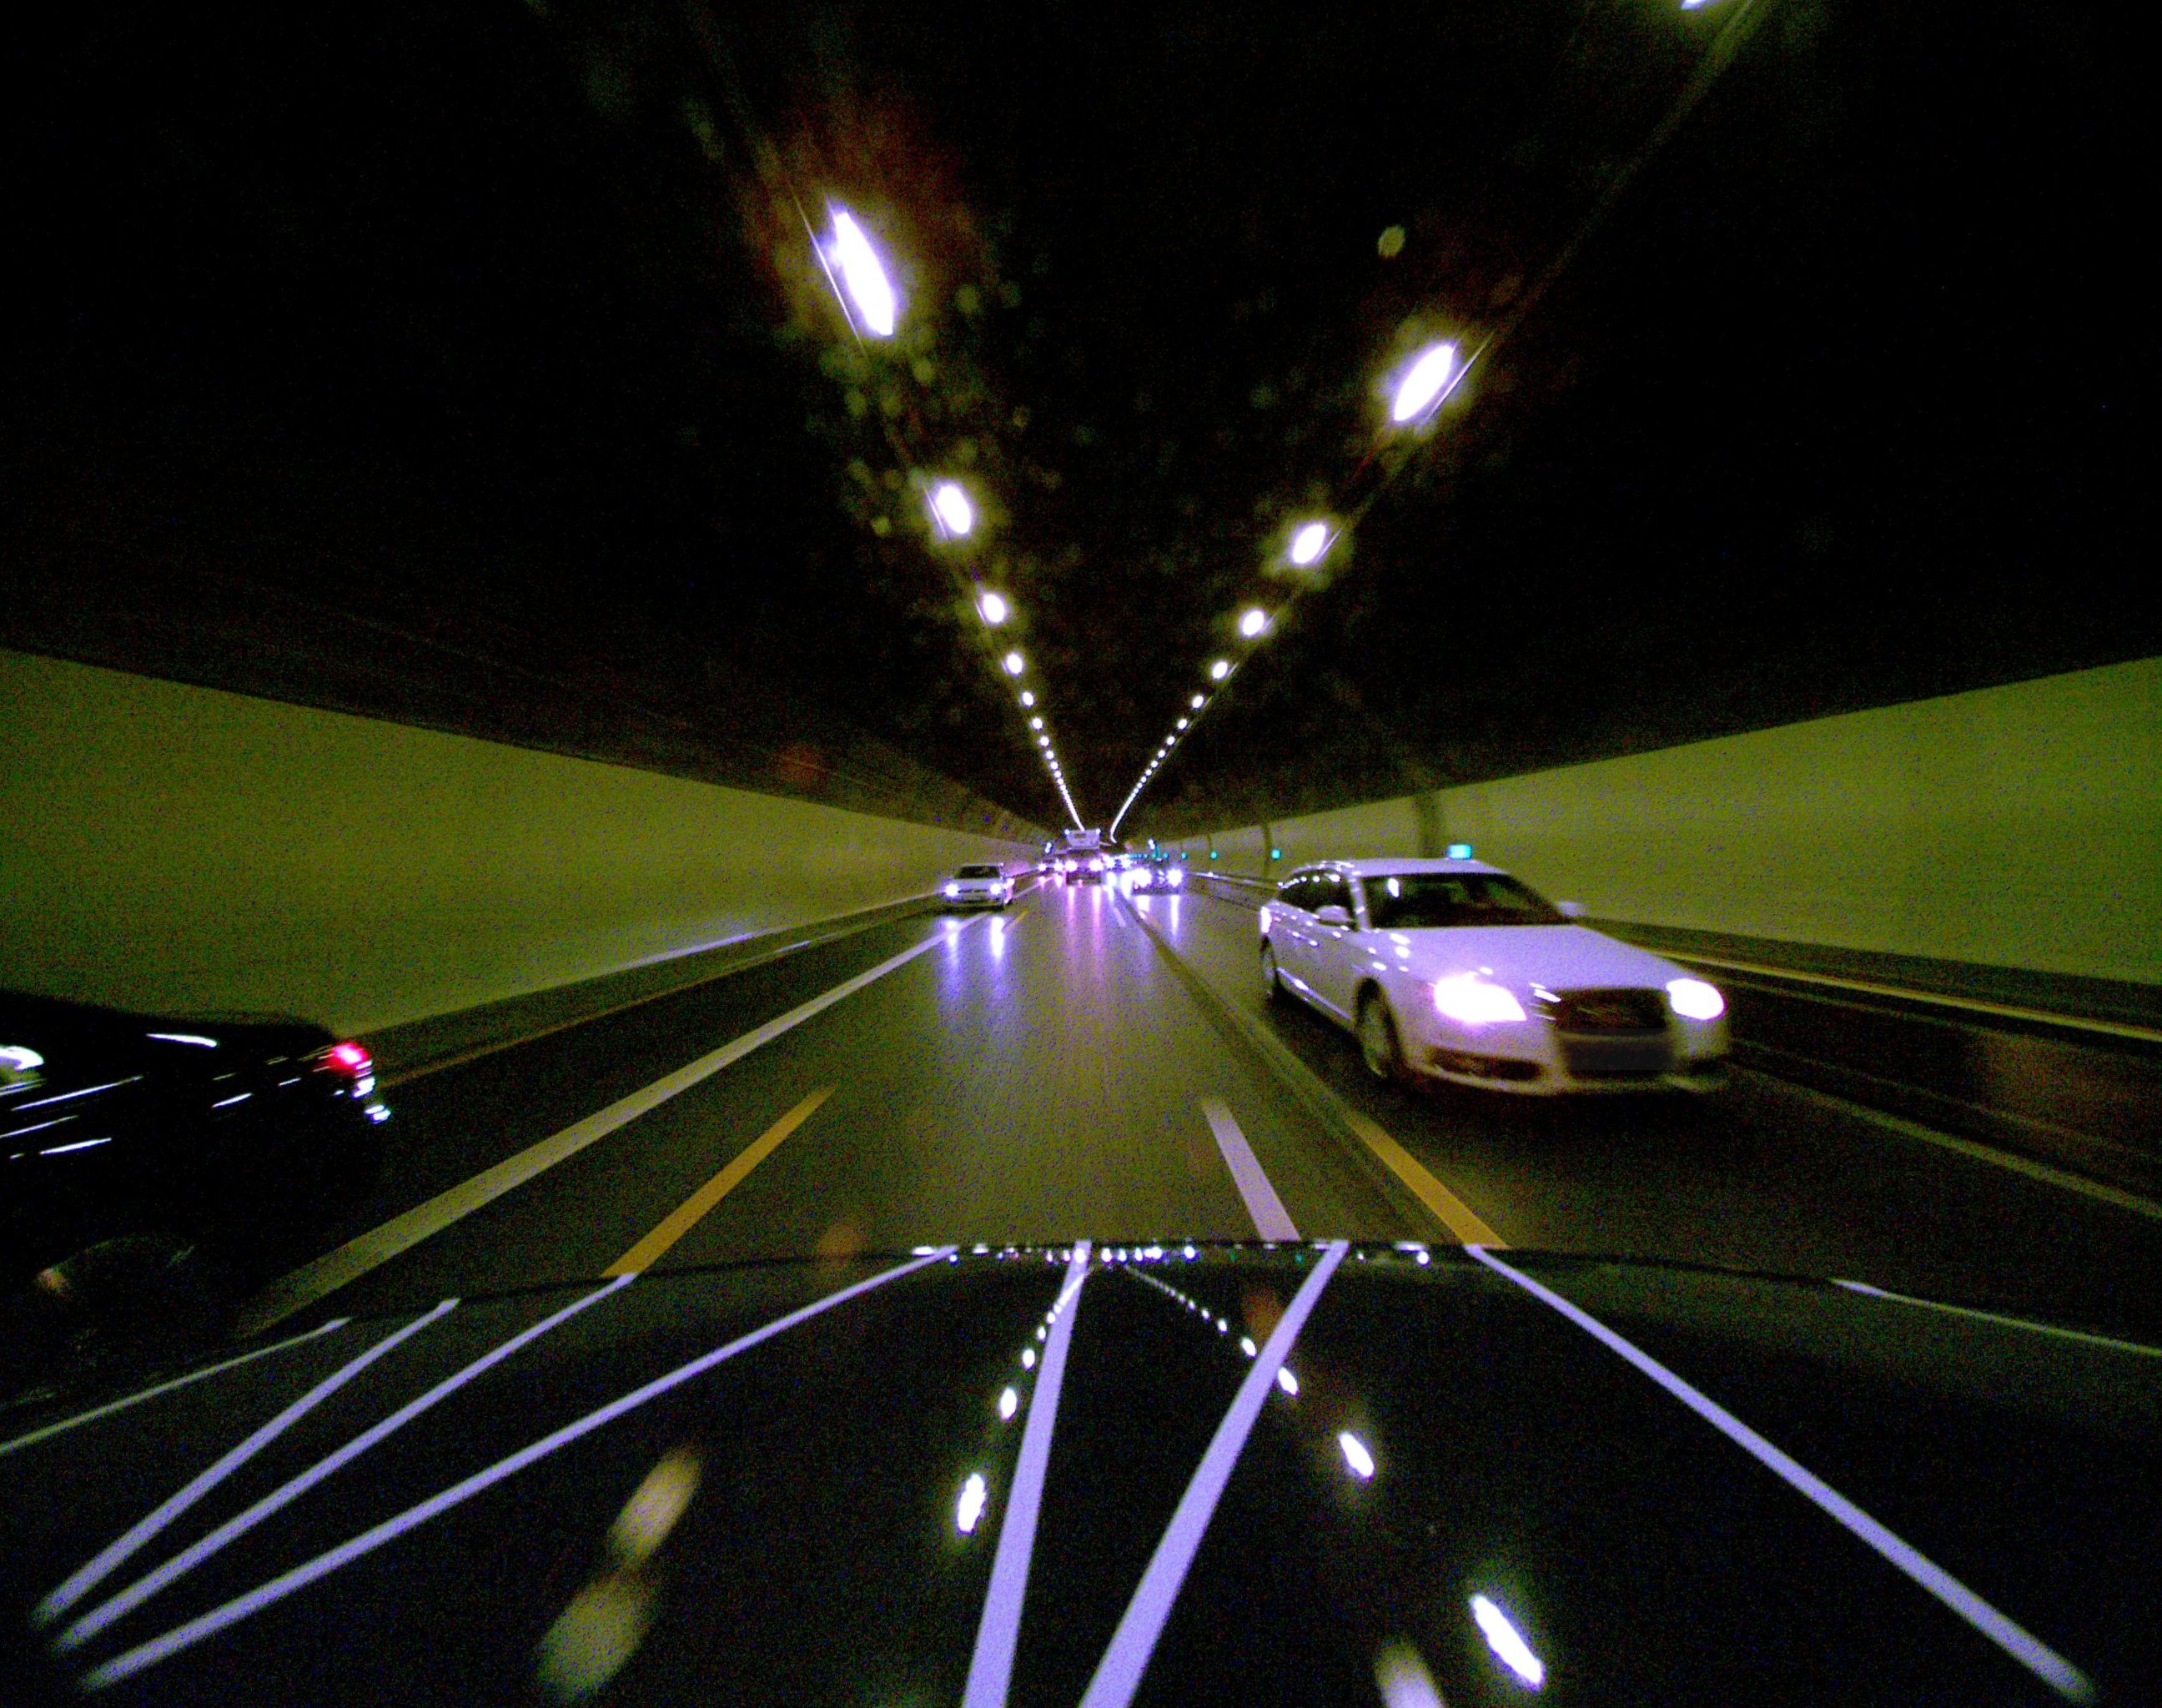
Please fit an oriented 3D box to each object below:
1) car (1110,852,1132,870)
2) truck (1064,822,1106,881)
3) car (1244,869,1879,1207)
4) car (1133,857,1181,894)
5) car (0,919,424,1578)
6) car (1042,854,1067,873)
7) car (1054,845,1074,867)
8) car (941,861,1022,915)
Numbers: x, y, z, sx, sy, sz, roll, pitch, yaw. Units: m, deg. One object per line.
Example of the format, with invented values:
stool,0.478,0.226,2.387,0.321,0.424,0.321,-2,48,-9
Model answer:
car,3.965,0.701,76.004,1.958,1.528,4.757,-5,1,0
truck,0.298,-0.157,46.824,2.262,3.238,7.383,-2,0,1
car,2.768,0.906,6.009,1.908,1.476,4.944,-1,0,0
car,3.075,0.840,31.361,1.657,1.395,3.657,-1,0,1
car,-3.598,1.044,0.470,1.930,1.464,4.954,-3,0,1
car,-2.361,0.828,68.098,1.958,1.528,4.757,-3,1,0
car,-2.149,0.239,96.588,2.124,2.629,6.229,-3,1,1
car,-3.033,0.997,23.979,1.801,1.452,4.035,-2,0,3
